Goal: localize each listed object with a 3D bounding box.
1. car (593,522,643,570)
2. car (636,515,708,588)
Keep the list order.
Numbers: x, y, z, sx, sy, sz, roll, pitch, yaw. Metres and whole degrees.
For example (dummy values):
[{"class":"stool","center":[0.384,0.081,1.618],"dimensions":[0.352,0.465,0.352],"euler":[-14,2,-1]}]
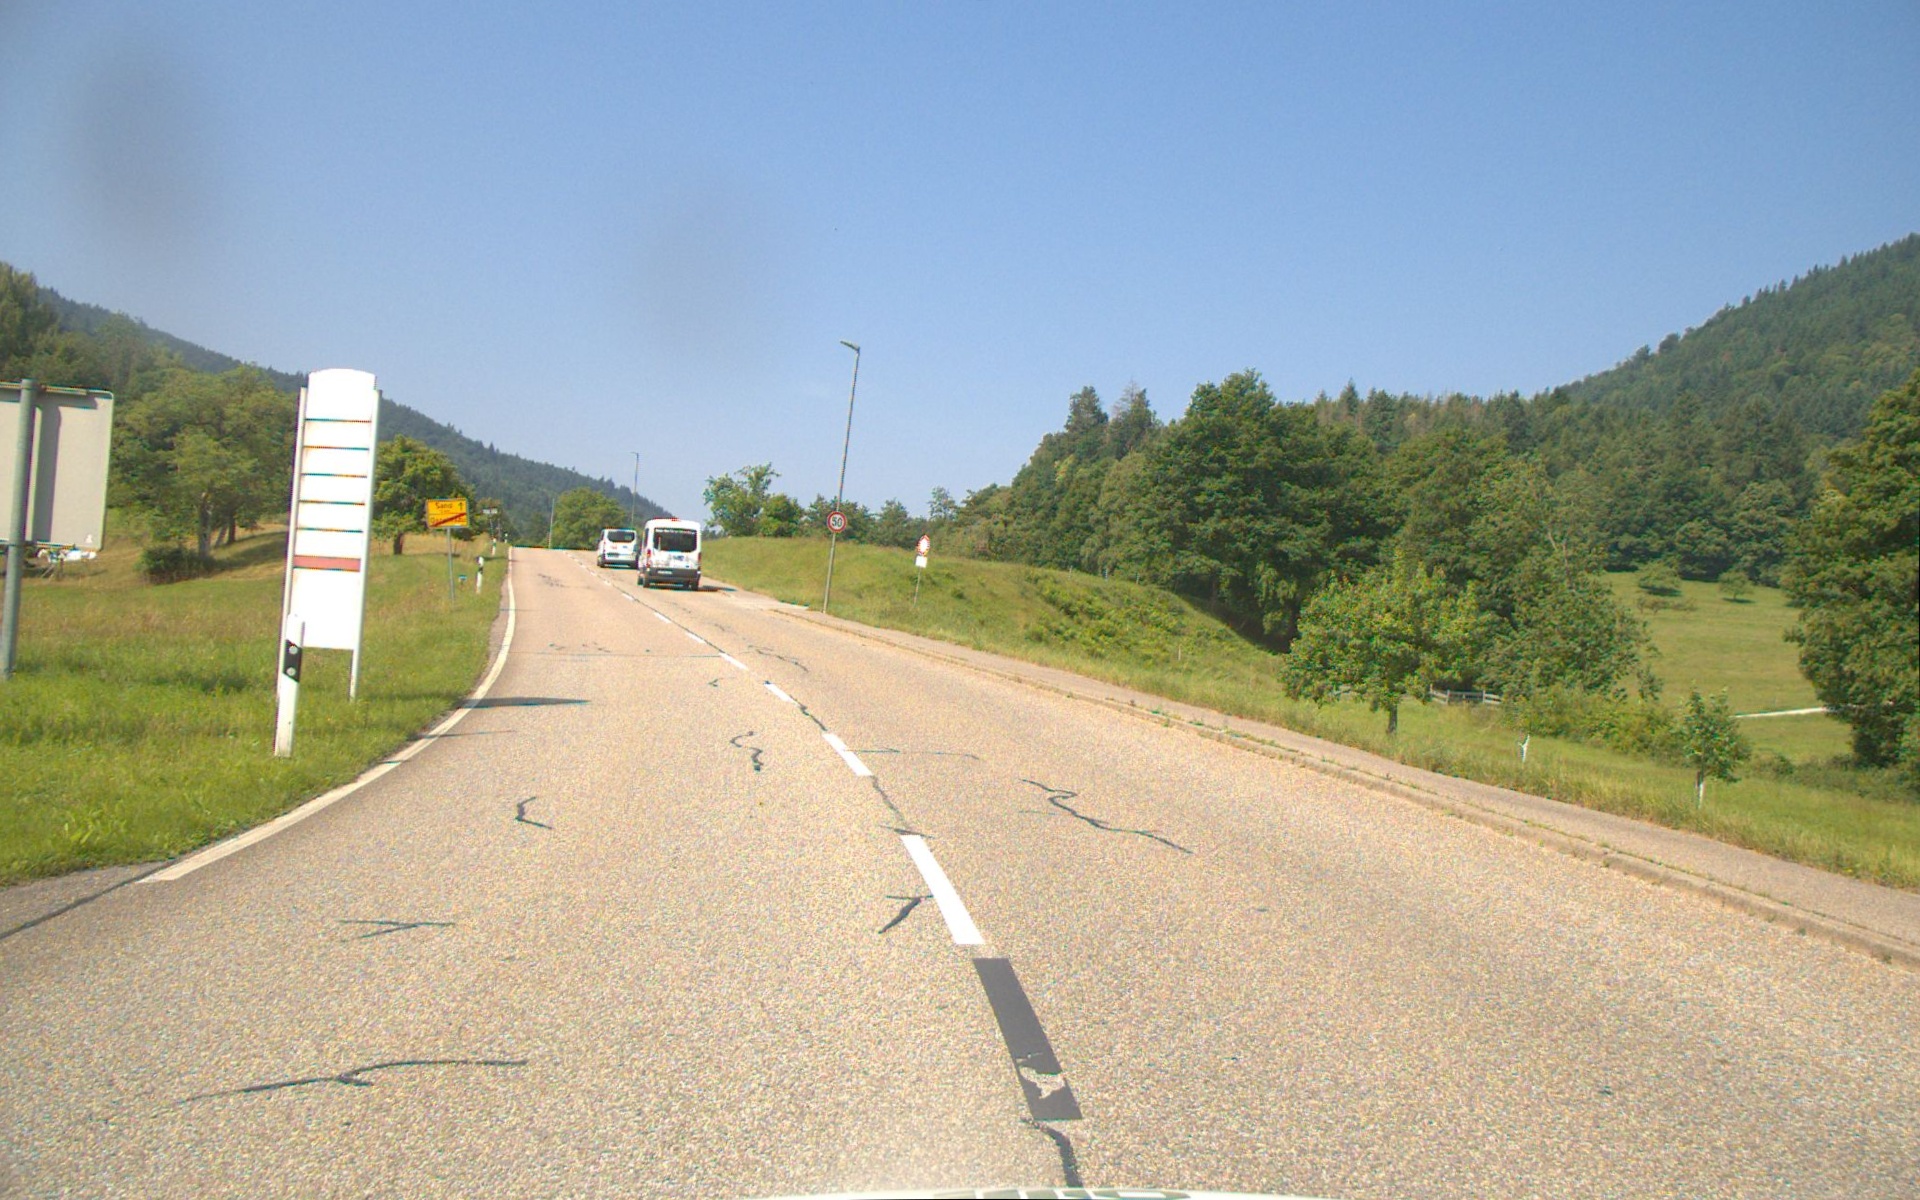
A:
[{"class":"car","center":[-17.991,-2.798,86.750],"dimensions":[2.187,2.327,4.962],"euler":[0,0,-16]},{"class":"car","center":[-10.697,-1.722,61.154],"dimensions":[2.186,2.570,4.964],"euler":[0,0,-15]}]
